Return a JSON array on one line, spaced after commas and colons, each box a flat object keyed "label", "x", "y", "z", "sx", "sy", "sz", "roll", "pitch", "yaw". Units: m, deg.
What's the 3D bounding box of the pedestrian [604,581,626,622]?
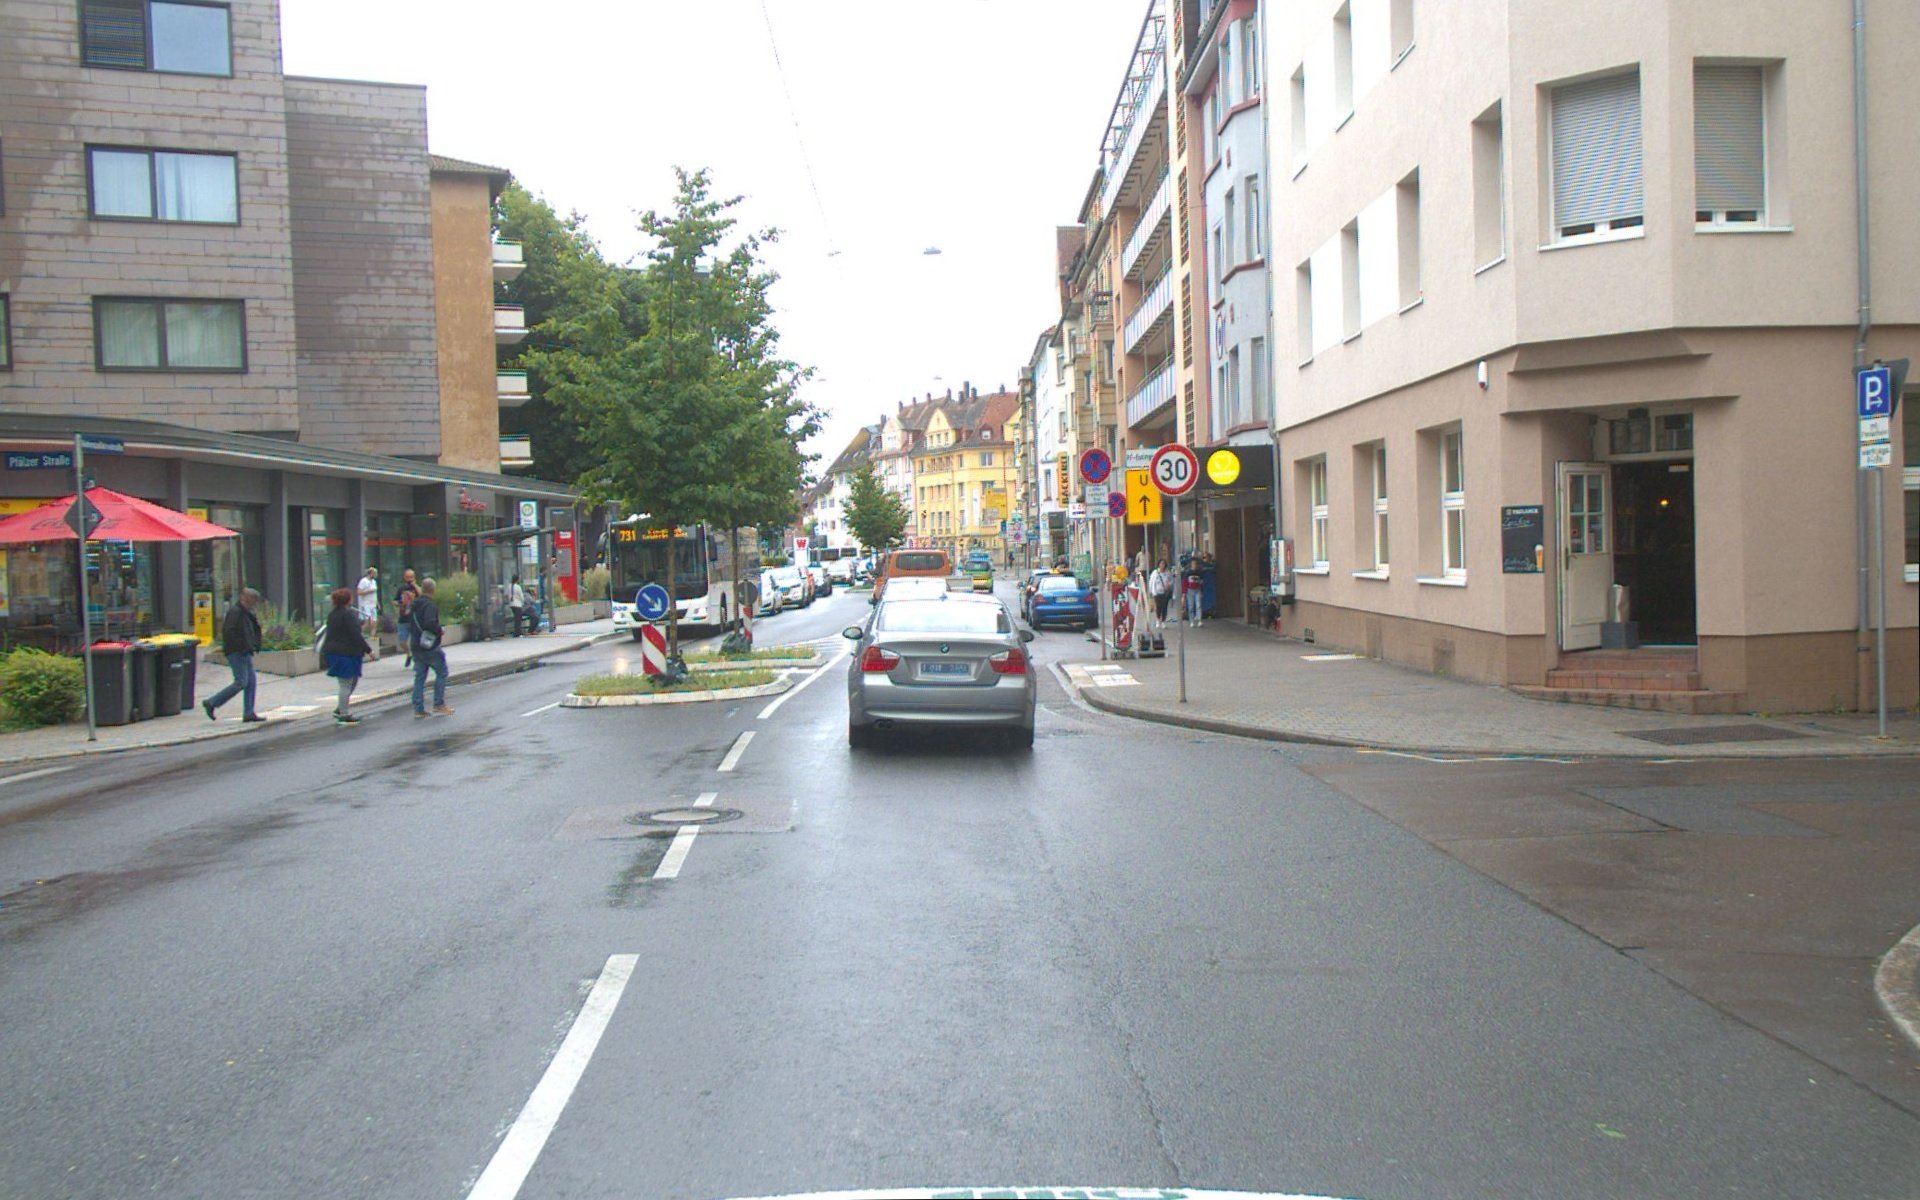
[{"label": "pedestrian", "x": -11.974, "y": 0.055, "z": 57.435, "sx": 0.607, "sy": 1.402, "sz": 0.544, "roll": 1, "pitch": -1, "yaw": 1}]

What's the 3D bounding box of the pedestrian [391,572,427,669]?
[{"label": "pedestrian", "x": -10.473, "y": 0.393, "z": 31.470, "sx": 0.533, "sy": 1.821, "sz": 0.465, "roll": 1, "pitch": -1, "yaw": -9}]

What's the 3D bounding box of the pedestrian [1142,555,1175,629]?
[{"label": "pedestrian", "x": 4.632, "y": -0.180, "z": 38.649, "sx": 0.733, "sy": 1.690, "sz": 0.837, "roll": 1, "pitch": -1, "yaw": 6}]

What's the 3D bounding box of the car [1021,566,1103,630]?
[{"label": "car", "x": 2.569, "y": -0.020, "z": 42.583, "sx": 1.772, "sy": 1.545, "sz": 3.999, "roll": 1, "pitch": -1, "yaw": -1}]

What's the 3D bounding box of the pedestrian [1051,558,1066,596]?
[{"label": "pedestrian", "x": 3.812, "y": -0.888, "z": 64.145, "sx": 0.511, "sy": 1.446, "sz": 0.430, "roll": 1, "pitch": -1, "yaw": 9}]

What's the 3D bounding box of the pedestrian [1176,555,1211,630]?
[{"label": "pedestrian", "x": 5.377, "y": -0.173, "z": 38.125, "sx": 0.734, "sy": 1.690, "sz": 0.755, "roll": 1, "pitch": -1, "yaw": 6}]

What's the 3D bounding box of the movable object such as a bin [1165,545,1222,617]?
[{"label": "movable object such as a bin", "x": 5.843, "y": -0.466, "z": 41.453, "sx": 1.100, "sy": 1.732, "sz": 1.433, "roll": -2, "pitch": -1, "yaw": -3}]

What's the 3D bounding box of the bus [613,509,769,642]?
[{"label": "bus", "x": -7.372, "y": -0.534, "z": 47.039, "sx": 2.626, "sy": 3.257, "sz": 11.952, "roll": 1, "pitch": -1, "yaw": -1}]

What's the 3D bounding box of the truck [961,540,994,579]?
[{"label": "truck", "x": 1.249, "y": -2.867, "z": 118.990, "sx": 2.172, "sy": 2.589, "sz": 4.778, "roll": 1, "pitch": -1, "yaw": -1}]

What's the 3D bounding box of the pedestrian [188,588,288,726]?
[{"label": "pedestrian", "x": -9.553, "y": 0.738, "z": 21.918, "sx": 1.043, "sy": 1.761, "sz": 0.712, "roll": -1, "pitch": 1, "yaw": -10}]

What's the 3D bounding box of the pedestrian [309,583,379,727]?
[{"label": "pedestrian", "x": -7.818, "y": 0.683, "z": 21.001, "sx": 0.729, "sy": 1.738, "sz": 0.676, "roll": -4, "pitch": 1, "yaw": -21}]

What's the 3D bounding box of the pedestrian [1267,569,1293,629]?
[{"label": "pedestrian", "x": 6.719, "y": -0.024, "z": 34.721, "sx": 0.404, "sy": 1.223, "sz": 0.357, "roll": -4, "pitch": 1, "yaw": 2}]

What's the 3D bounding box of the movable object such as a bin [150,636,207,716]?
[{"label": "movable object such as a bin", "x": -11.084, "y": 1.073, "z": 23.473, "sx": 0.480, "sy": 1.100, "sz": 0.606, "roll": -2, "pitch": -1, "yaw": 0}]

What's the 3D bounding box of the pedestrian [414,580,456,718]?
[{"label": "pedestrian", "x": -6.712, "y": 0.618, "z": 21.144, "sx": 0.458, "sy": 1.739, "sz": 0.541, "roll": 1, "pitch": -1, "yaw": -20}]

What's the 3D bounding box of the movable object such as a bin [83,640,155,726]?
[{"label": "movable object such as a bin", "x": -11.219, "y": 1.094, "z": 22.081, "sx": 0.542, "sy": 1.100, "sz": 0.731, "roll": -2, "pitch": -1, "yaw": 0}]

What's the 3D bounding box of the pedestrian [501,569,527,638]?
[{"label": "pedestrian", "x": -11.235, "y": 0.091, "z": 41.681, "sx": 0.532, "sy": 1.739, "sz": 0.465, "roll": 1, "pitch": -1, "yaw": -7}]

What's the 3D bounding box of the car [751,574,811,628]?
[{"label": "car", "x": -6.985, "y": 0.079, "z": 64.846, "sx": 1.953, "sy": 2.049, "sz": 3.999, "roll": 0, "pitch": -1, "yaw": -1}]

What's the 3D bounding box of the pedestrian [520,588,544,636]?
[{"label": "pedestrian", "x": -11.283, "y": 0.310, "z": 43.573, "sx": 0.455, "sy": 1.252, "sz": 0.544, "roll": 1, "pitch": -1, "yaw": 1}]

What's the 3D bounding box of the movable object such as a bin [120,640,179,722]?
[{"label": "movable object such as a bin", "x": -11.175, "y": 1.108, "z": 22.815, "sx": 0.480, "sy": 1.100, "sz": 0.606, "roll": -2, "pitch": -1, "yaw": 0}]

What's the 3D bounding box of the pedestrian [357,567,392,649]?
[{"label": "pedestrian", "x": -12.609, "y": 0.181, "z": 35.622, "sx": 0.647, "sy": 1.735, "sz": 0.658, "roll": 1, "pitch": -1, "yaw": -17}]

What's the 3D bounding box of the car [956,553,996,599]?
[{"label": "car", "x": 0.739, "y": -1.102, "z": 78.149, "sx": 1.671, "sy": 2.049, "sz": 3.998, "roll": 1, "pitch": -1, "yaw": -2}]

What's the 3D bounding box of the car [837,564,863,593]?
[{"label": "car", "x": -8.415, "y": -1.619, "z": 126.530, "sx": 1.954, "sy": 2.049, "sz": 3.996, "roll": 1, "pitch": -1, "yaw": -4}]

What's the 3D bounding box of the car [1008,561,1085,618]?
[{"label": "car", "x": 2.469, "y": -0.277, "z": 48.079, "sx": 1.953, "sy": 1.545, "sz": 3.999, "roll": 1, "pitch": -1, "yaw": -1}]

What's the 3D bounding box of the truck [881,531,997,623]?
[{"label": "truck", "x": -0.624, "y": -0.567, "z": 42.828, "sx": 2.176, "sy": 2.153, "sz": 4.640, "roll": 2, "pitch": 0, "yaw": -11}]

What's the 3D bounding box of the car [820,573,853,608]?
[{"label": "car", "x": -7.743, "y": -0.570, "z": 103.844, "sx": 1.954, "sy": 2.049, "sz": 3.996, "roll": 1, "pitch": -1, "yaw": -4}]

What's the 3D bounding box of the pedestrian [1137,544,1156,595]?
[{"label": "pedestrian", "x": 6.384, "y": -1.041, "z": 56.573, "sx": 0.602, "sy": 1.690, "sz": 0.755, "roll": 1, "pitch": -1, "yaw": 6}]

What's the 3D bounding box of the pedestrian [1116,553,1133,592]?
[{"label": "pedestrian", "x": 6.184, "y": -1.035, "z": 62.158, "sx": 0.552, "sy": 1.446, "sz": 0.797, "roll": 1, "pitch": -1, "yaw": 13}]

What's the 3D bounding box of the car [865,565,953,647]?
[{"label": "car", "x": -0.992, "y": 0.129, "z": 31.652, "sx": 1.570, "sy": 1.445, "sz": 3.286, "roll": 1, "pitch": -1, "yaw": -2}]

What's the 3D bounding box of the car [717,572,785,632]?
[{"label": "car", "x": -7.394, "y": 0.092, "z": 58.752, "sx": 1.953, "sy": 2.049, "sz": 3.999, "roll": 1, "pitch": -1, "yaw": -1}]

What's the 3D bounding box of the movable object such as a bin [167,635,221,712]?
[{"label": "movable object such as a bin", "x": -11.179, "y": 1.074, "z": 24.140, "sx": 0.462, "sy": 1.090, "sz": 0.538, "roll": -3, "pitch": -1, "yaw": 36}]

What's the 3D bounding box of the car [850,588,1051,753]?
[{"label": "car", "x": -0.086, "y": 0.592, "z": 15.755, "sx": 1.720, "sy": 1.386, "sz": 3.165, "roll": 0, "pitch": 1, "yaw": 0}]

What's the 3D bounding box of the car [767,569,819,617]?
[{"label": "car", "x": -7.398, "y": -0.294, "z": 73.629, "sx": 1.953, "sy": 2.049, "sz": 3.999, "roll": 1, "pitch": -1, "yaw": -1}]

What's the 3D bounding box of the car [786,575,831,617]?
[{"label": "car", "x": -7.633, "y": -0.174, "z": 83.572, "sx": 1.953, "sy": 2.049, "sz": 3.999, "roll": 1, "pitch": -1, "yaw": -1}]
